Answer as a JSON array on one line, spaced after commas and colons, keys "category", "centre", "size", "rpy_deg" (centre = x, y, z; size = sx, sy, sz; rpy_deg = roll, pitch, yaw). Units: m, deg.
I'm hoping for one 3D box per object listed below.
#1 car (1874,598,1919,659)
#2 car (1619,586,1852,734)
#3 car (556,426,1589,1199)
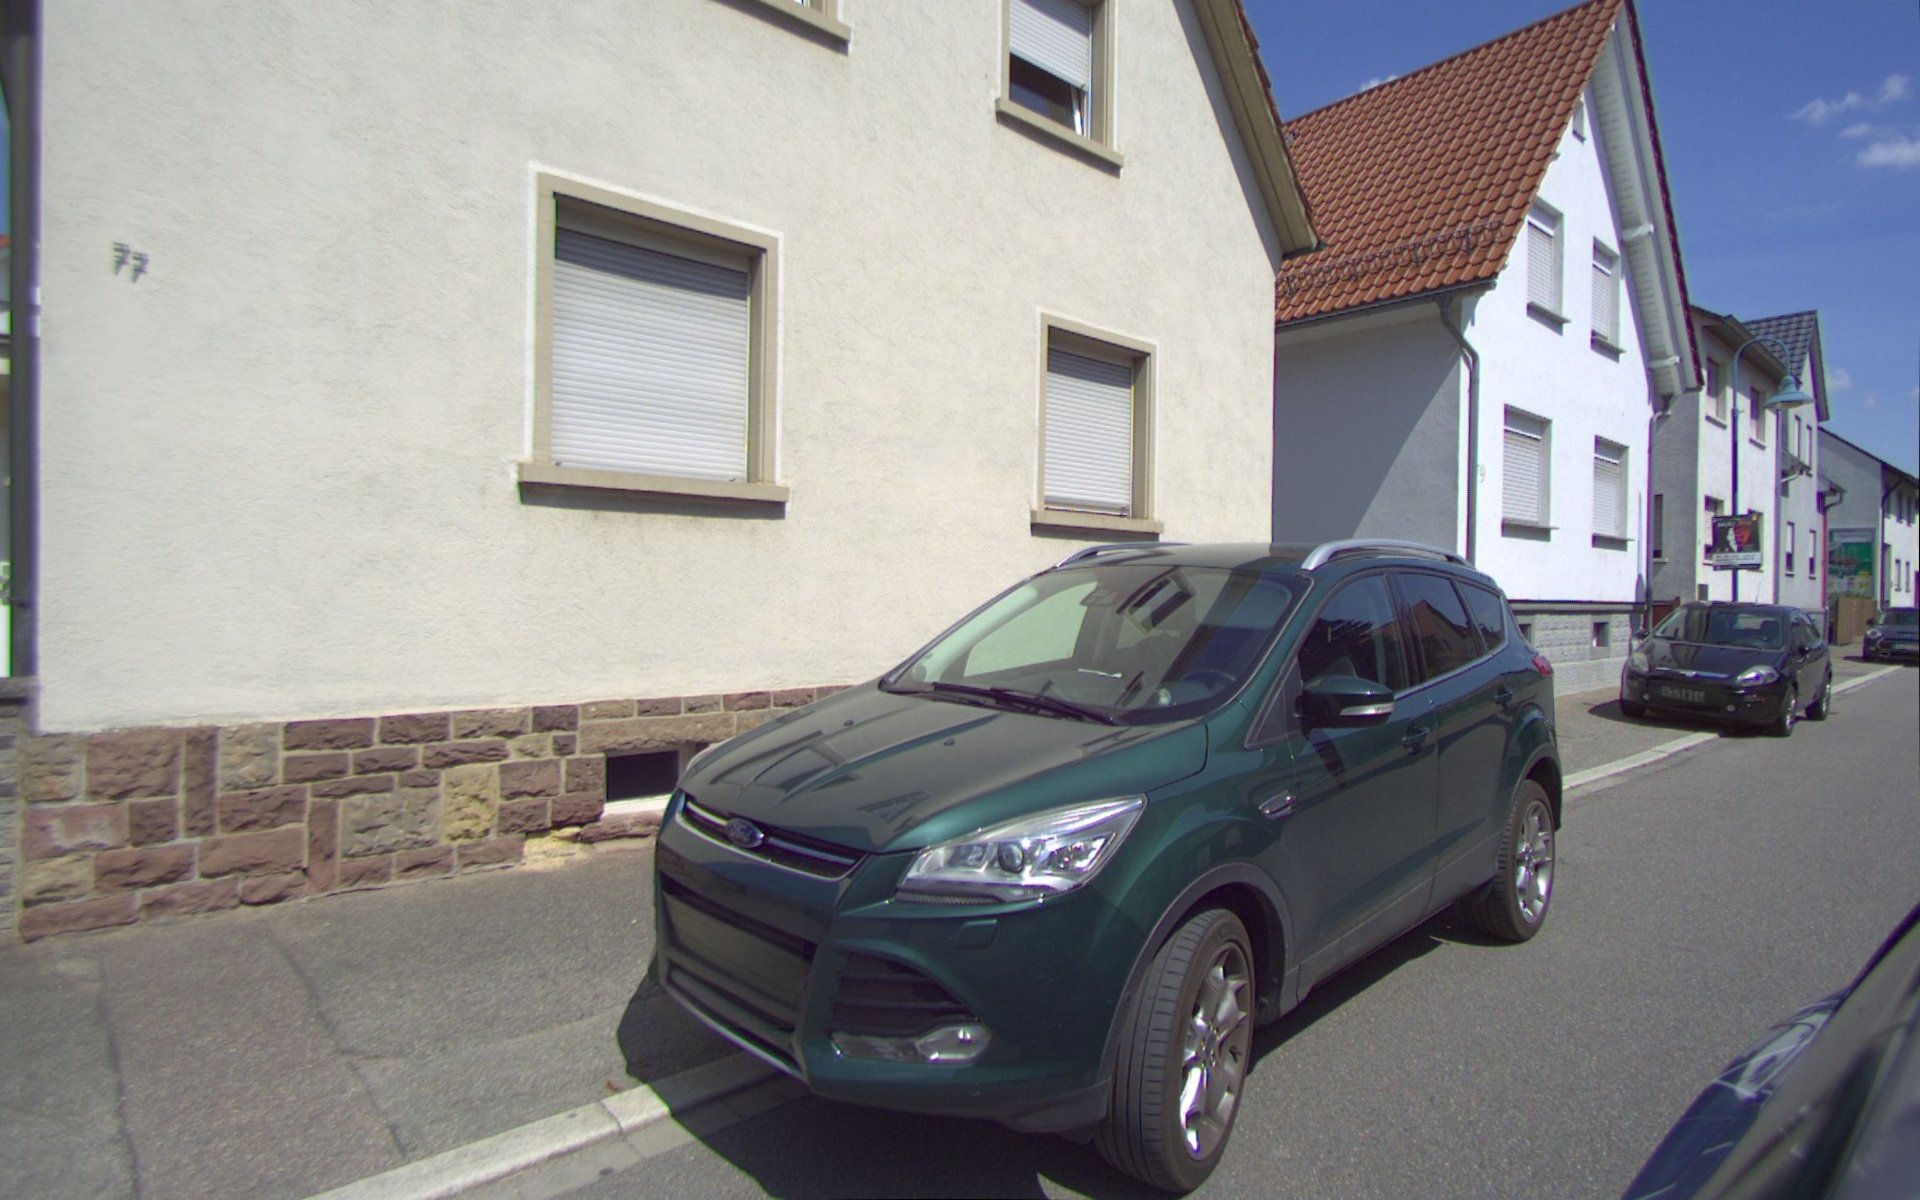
[{"category": "car", "centre": [24.370, 0.683, 25.460], "size": [3.594, 1.440, 1.691], "rpy_deg": [0, 1, -42]}, {"category": "car", "centre": [9.921, 0.645, 12.844], "size": [3.903, 1.514, 1.620], "rpy_deg": [0, 3, -42]}, {"category": "car", "centre": [0.865, 0.539, 3.942], "size": [4.205, 1.738, 1.730], "rpy_deg": [0, 1, -44]}]
